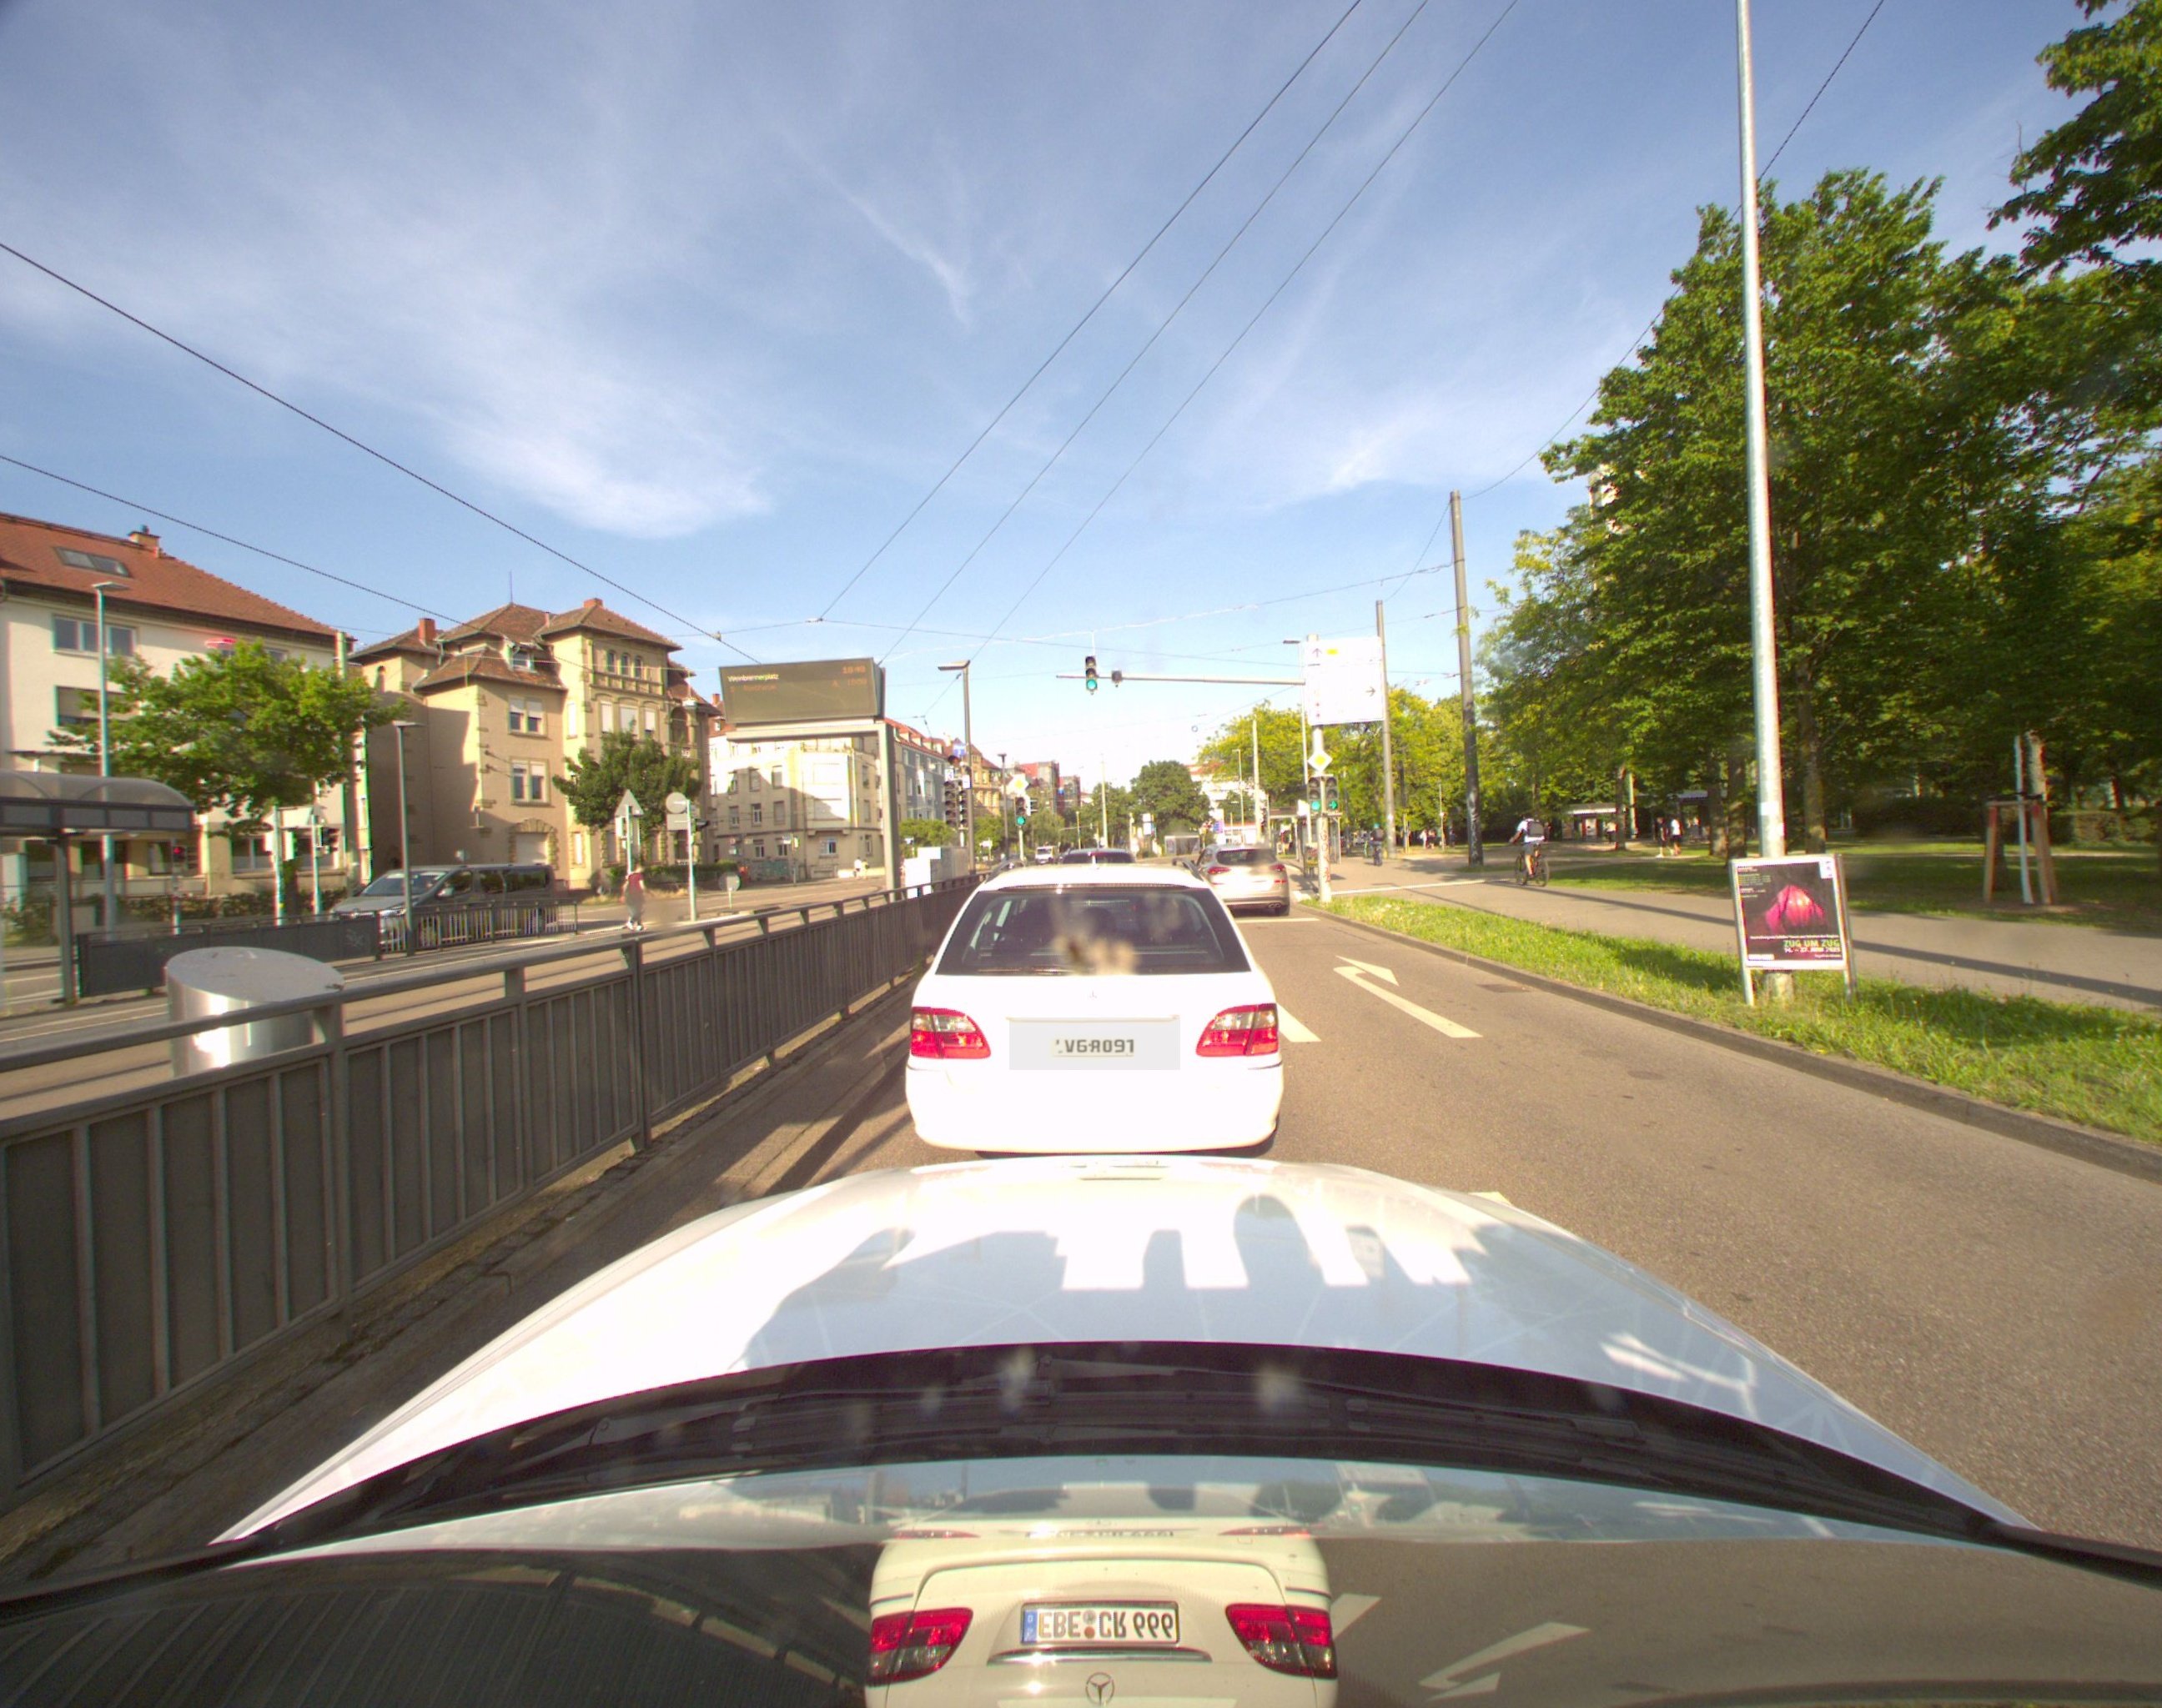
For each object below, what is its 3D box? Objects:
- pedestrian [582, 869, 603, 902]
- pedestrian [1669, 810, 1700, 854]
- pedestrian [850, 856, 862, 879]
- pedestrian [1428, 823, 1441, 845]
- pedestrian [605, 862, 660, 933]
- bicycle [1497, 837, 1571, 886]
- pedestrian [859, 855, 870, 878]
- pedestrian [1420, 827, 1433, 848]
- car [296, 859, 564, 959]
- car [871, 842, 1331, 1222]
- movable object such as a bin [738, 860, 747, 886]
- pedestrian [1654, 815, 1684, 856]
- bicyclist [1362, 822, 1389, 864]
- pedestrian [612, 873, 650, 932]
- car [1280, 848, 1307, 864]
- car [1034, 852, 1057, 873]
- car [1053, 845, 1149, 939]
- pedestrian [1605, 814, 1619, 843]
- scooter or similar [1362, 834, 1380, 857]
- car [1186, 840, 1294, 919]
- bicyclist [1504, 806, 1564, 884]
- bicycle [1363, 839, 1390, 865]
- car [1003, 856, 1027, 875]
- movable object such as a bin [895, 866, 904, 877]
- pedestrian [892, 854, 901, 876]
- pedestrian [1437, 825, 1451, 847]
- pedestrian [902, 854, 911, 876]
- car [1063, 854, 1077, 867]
[{"bbox_3d":[-24.938,1.607,41.576,0.672,1.651,0.608,-3,0,28],"label":"pedestrian"},{"bbox_3d":[26.637,-0.950,35.952,0.671,1.897,0.876,0,0,-11],"label":"pedestrian"},{"bbox_3d":[-18.560,1.135,67.252,0.653,1.881,0.629,-3,0,16],"label":"pedestrian"},{"bbox_3d":[27.447,-1.531,63.258,0.638,1.665,0.691,-3,0,1],"label":"pedestrian"},{"bbox_3d":[-10.939,1.046,19.859,0.663,1.670,0.889,-3,0,31],"label":"pedestrian"},{"bbox_3d":[10.878,0.174,19.641,0.638,1.088,1.940,-5,0,1],"label":"bicycle"},{"bbox_3d":[-17.871,1.065,67.168,0.672,1.848,0.649,-3,0,-1],"label":"pedestrian"},{"bbox_3d":[27.203,-1.330,64.111,0.638,1.610,0.691,-3,0,1],"label":"pedestrian"},{"bbox_3d":[-15.864,1.220,20.396,2.137,2.013,5.389,-3,0,2],"label":"car"},{"bbox_3d":[0.138,0.713,5.195,1.828,1.501,3.817,-1,0,2],"label":"car"},{"bbox_3d":[-23.594,1.322,56.706,0.265,1.709,2.360,-3,0,-29],"label":"movable object such as a bin"},{"bbox_3d":[25.793,-0.825,35.732,0.671,1.777,0.877,-1,0,-9],"label":"pedestrian"},{"bbox_3d":[12.872,-0.485,35.622,0.716,1.745,1.142,-6,0,5],"label":"bicyclist"},{"bbox_3d":[-12.499,1.333,22.620,0.588,1.589,0.715,-3,0,-2],"label":"pedestrian"},{"bbox_3d":[24.591,0.209,93.962,1.835,1.515,4.026,-4,0,32],"label":"car"},{"bbox_3d":[-4.061,0.985,94.492,2.168,2.239,5.256,-3,0,2],"label":"car"},{"bbox_3d":[0.400,0.656,16.032,1.635,1.600,3.817,-1,0,2],"label":"car"},{"bbox_3d":[34.128,-1.642,52.368,0.463,1.868,0.600,0,-1,-29],"label":"pedestrian"},{"bbox_3d":[16.119,-0.444,45.227,0.351,1.232,1.131,-3,0,-12],"label":"scooter or similar"},{"bbox_3d":[3.554,0.518,18.859,1.828,1.600,3.817,-1,0,2],"label":"car"},{"bbox_3d":[10.839,-0.205,19.537,0.647,1.745,1.140,-6,0,1],"label":"bicyclist"},{"bbox_3d":[12.958,-0.088,35.755,0.637,1.088,1.736,-5,0,6],"label":"bicycle"},{"bbox_3d":[-6.185,1.048,76.439,1.670,1.525,4.127,-3,1,2],"label":"car"},{"bbox_3d":[-15.968,1.509,71.746,0.580,0.947,0.663,-3,0,3],"label":"movable object such as a bin"},{"bbox_3d":[-16.030,0.940,70.734,0.582,1.881,0.627,-3,0,2],"label":"pedestrian"},{"bbox_3d":[27.672,-1.346,62.077,0.638,1.665,0.691,-3,0,1],"label":"pedestrian"},{"bbox_3d":[-15.203,0.915,70.971,0.582,1.881,0.626,-3,0,-1],"label":"pedestrian"},{"bbox_3d":[-1.489,0.924,112.387,1.760,1.494,4.746,-3,2,1],"label":"car"}]
